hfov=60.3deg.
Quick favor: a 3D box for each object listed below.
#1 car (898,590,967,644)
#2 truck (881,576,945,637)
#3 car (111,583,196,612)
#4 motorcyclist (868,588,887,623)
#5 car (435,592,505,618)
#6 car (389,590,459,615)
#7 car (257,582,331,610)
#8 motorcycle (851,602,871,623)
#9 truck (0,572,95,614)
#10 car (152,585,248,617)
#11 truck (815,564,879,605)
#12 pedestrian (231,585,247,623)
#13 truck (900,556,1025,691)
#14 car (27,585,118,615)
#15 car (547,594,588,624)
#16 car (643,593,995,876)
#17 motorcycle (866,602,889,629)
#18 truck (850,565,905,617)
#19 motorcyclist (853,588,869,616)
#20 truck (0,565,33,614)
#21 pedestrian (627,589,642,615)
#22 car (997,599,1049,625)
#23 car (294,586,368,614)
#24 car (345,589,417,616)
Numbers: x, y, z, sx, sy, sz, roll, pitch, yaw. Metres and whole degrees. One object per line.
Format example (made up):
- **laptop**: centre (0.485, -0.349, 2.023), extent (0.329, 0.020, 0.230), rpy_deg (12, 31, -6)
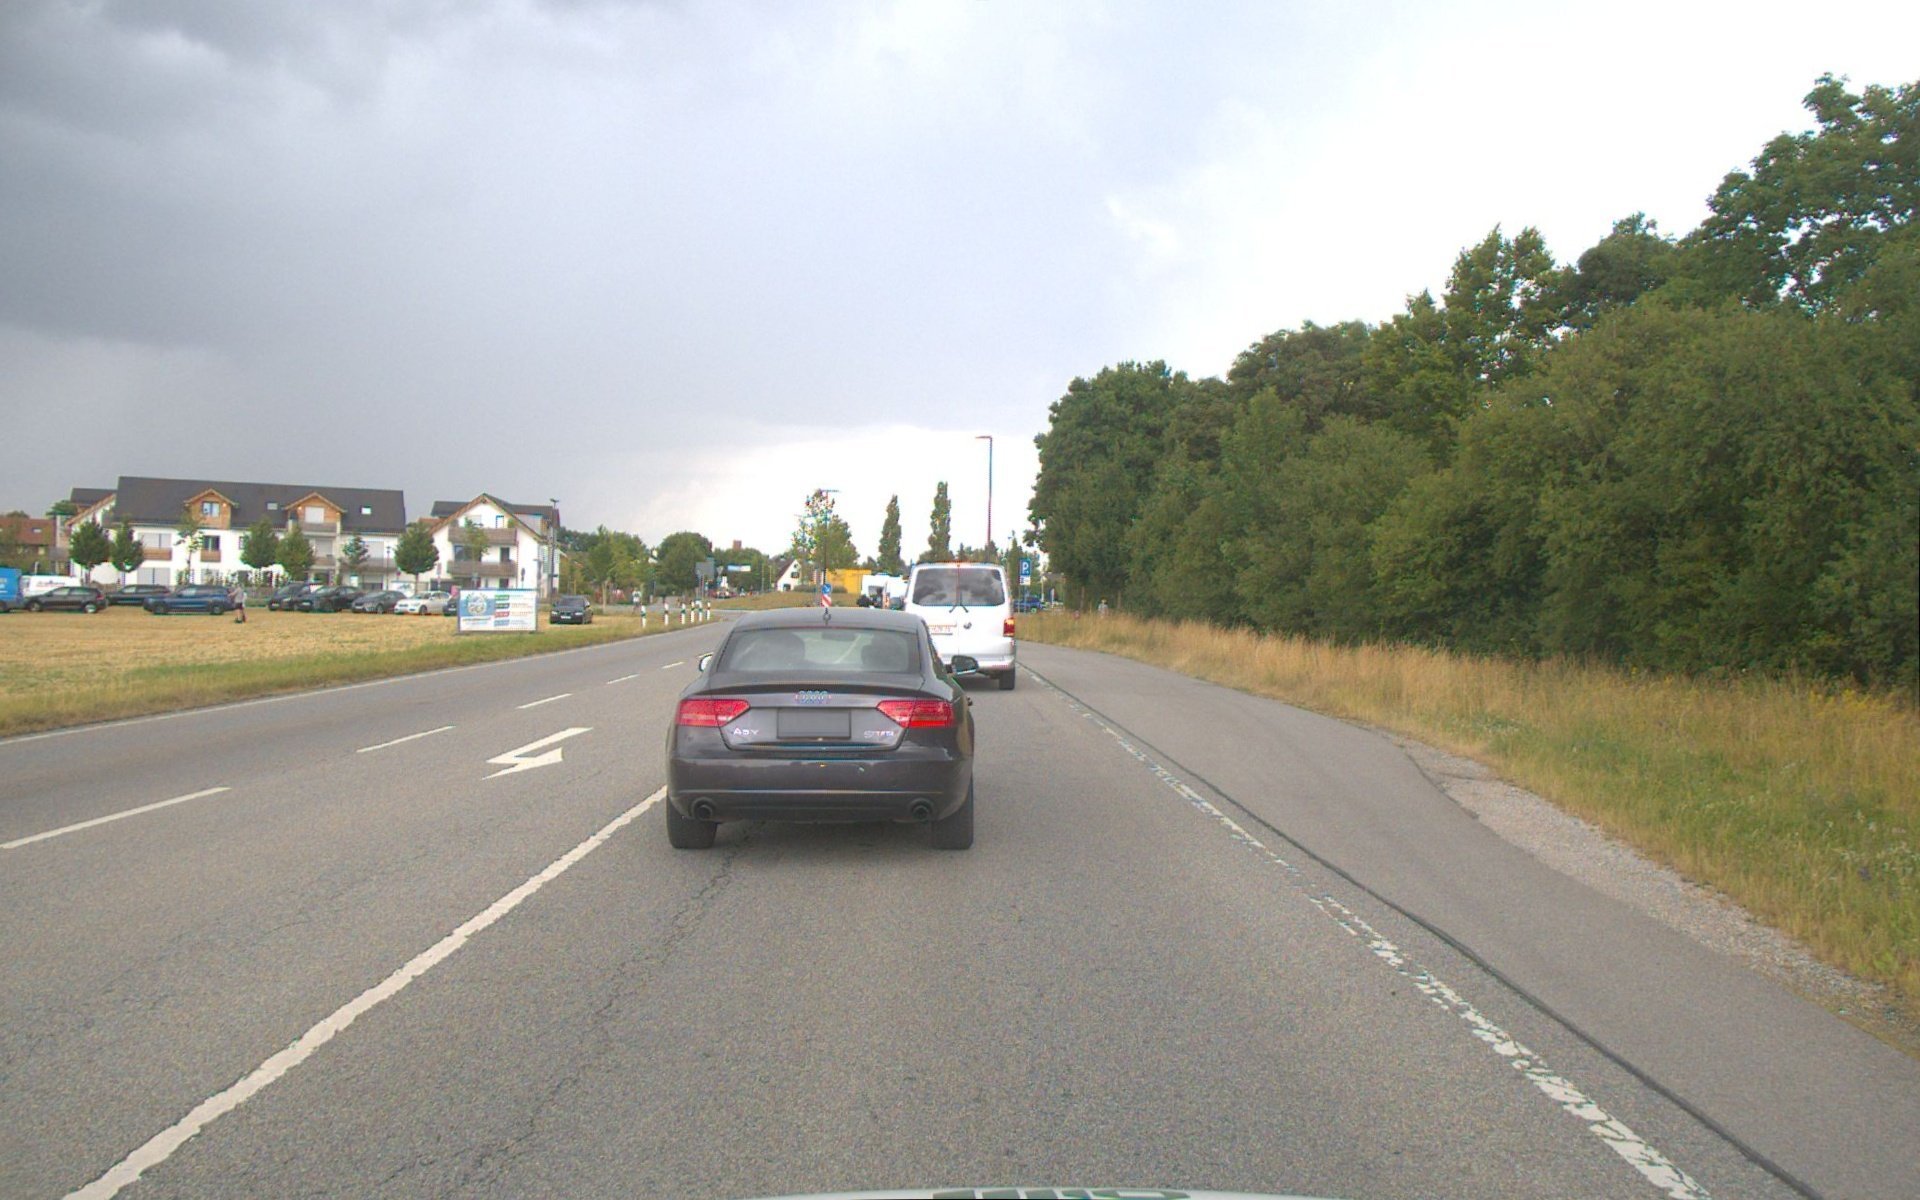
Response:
- **car**: centre (-0.840, 0.493, 49.004), extent (1.953, 1.511, 3.999), rpy_deg (1, 0, -2)
- **truck**: centre (-1.632, 0.232, 58.877), extent (2.149, 2.049, 5.084), rpy_deg (1, 0, -1)
- **car**: centre (-50.262, -0.174, 103.227), extent (4.559, 1.727, 1.987), rpy_deg (1, 0, -22)
- **motorcyclist**: centre (-3.462, 0.229, 69.410), extent (0.756, 1.407, 0.820), rpy_deg (1, 0, -2)
- **car**: centre (-29.130, 0.276, 98.438), extent (1.951, 1.471, 4.214), rpy_deg (1, 0, 17)
- **car**: centre (-31.975, 0.144, 98.781), extent (1.951, 1.471, 4.214), rpy_deg (1, 0, 17)
- **car**: centre (-40.932, -0.228, 101.739), extent (1.951, 1.657, 4.214), rpy_deg (1, 0, 17)
- **motorcycle**: centre (-4.983, 0.622, 83.067), extent (0.925, 1.037, 2.282), rpy_deg (1, 0, -4)
- **truck**: centre (-51.359, -0.393, 92.039), extent (5.491, 2.235, 2.588), rpy_deg (1, 0, -24)
- **car**: centre (-42.115, 0.055, 91.755), extent (4.648, 1.727, 1.987), rpy_deg (1, 0, -22)
- **truck**: centre (-10.746, -1.451, 155.729), extent (3.522, 3.640, 9.903), rpy_deg (2, 0, -19)
- **pedestrian**: centre (-34.679, 0.178, 79.553), extent (0.539, 1.817, 0.676), rpy_deg (1, 0, -13)
- **truck**: centre (0.011, 0.348, 27.473), extent (1.865, 2.033, 4.627), rpy_deg (1, 0, -1)
- **car**: centre (-47.867, 0.013, 89.274), extent (4.096, 1.545, 1.987), rpy_deg (1, 0, -22)
- **car**: centre (-20.417, 0.448, 86.139), extent (1.958, 1.467, 3.989), rpy_deg (1, 1, -12)
- **car**: centre (-0.787, 0.704, 10.776), extent (1.837, 1.479, 4.176), rpy_deg (0, 0, -1)
- **motorcycle**: centre (-3.466, 0.648, 69.400), extent (0.901, 1.113, 2.188), rpy_deg (1, 0, -1)
- **truck**: centre (-4.759, -0.502, 94.337), extent (2.577, 2.785, 5.857), rpy_deg (2, 0, -8)
- **motorcyclist**: centre (-4.972, 0.092, 82.996), extent (0.770, 1.380, 0.853), rpy_deg (1, 0, -4)
- **truck**: centre (-50.568, -0.580, 84.454), extent (5.376, 2.489, 2.376), rpy_deg (1, 0, -24)
- **pedestrian**: centre (-20.469, 0.115, 104.039), extent (0.686, 1.613, 0.658), rpy_deg (1, 0, 16)
- **car**: centre (5.258, 1.006, 137.603), extent (3.904, 2.049, 2.001), rpy_deg (2, 0, 19)
- **car**: centre (-37.805, -0.006, 99.492), extent (1.951, 1.657, 4.214), rpy_deg (1, 0, 17)
- **car**: centre (-34.674, 0.123, 99.192), extent (1.951, 1.562, 4.214), rpy_deg (1, 0, 17)
